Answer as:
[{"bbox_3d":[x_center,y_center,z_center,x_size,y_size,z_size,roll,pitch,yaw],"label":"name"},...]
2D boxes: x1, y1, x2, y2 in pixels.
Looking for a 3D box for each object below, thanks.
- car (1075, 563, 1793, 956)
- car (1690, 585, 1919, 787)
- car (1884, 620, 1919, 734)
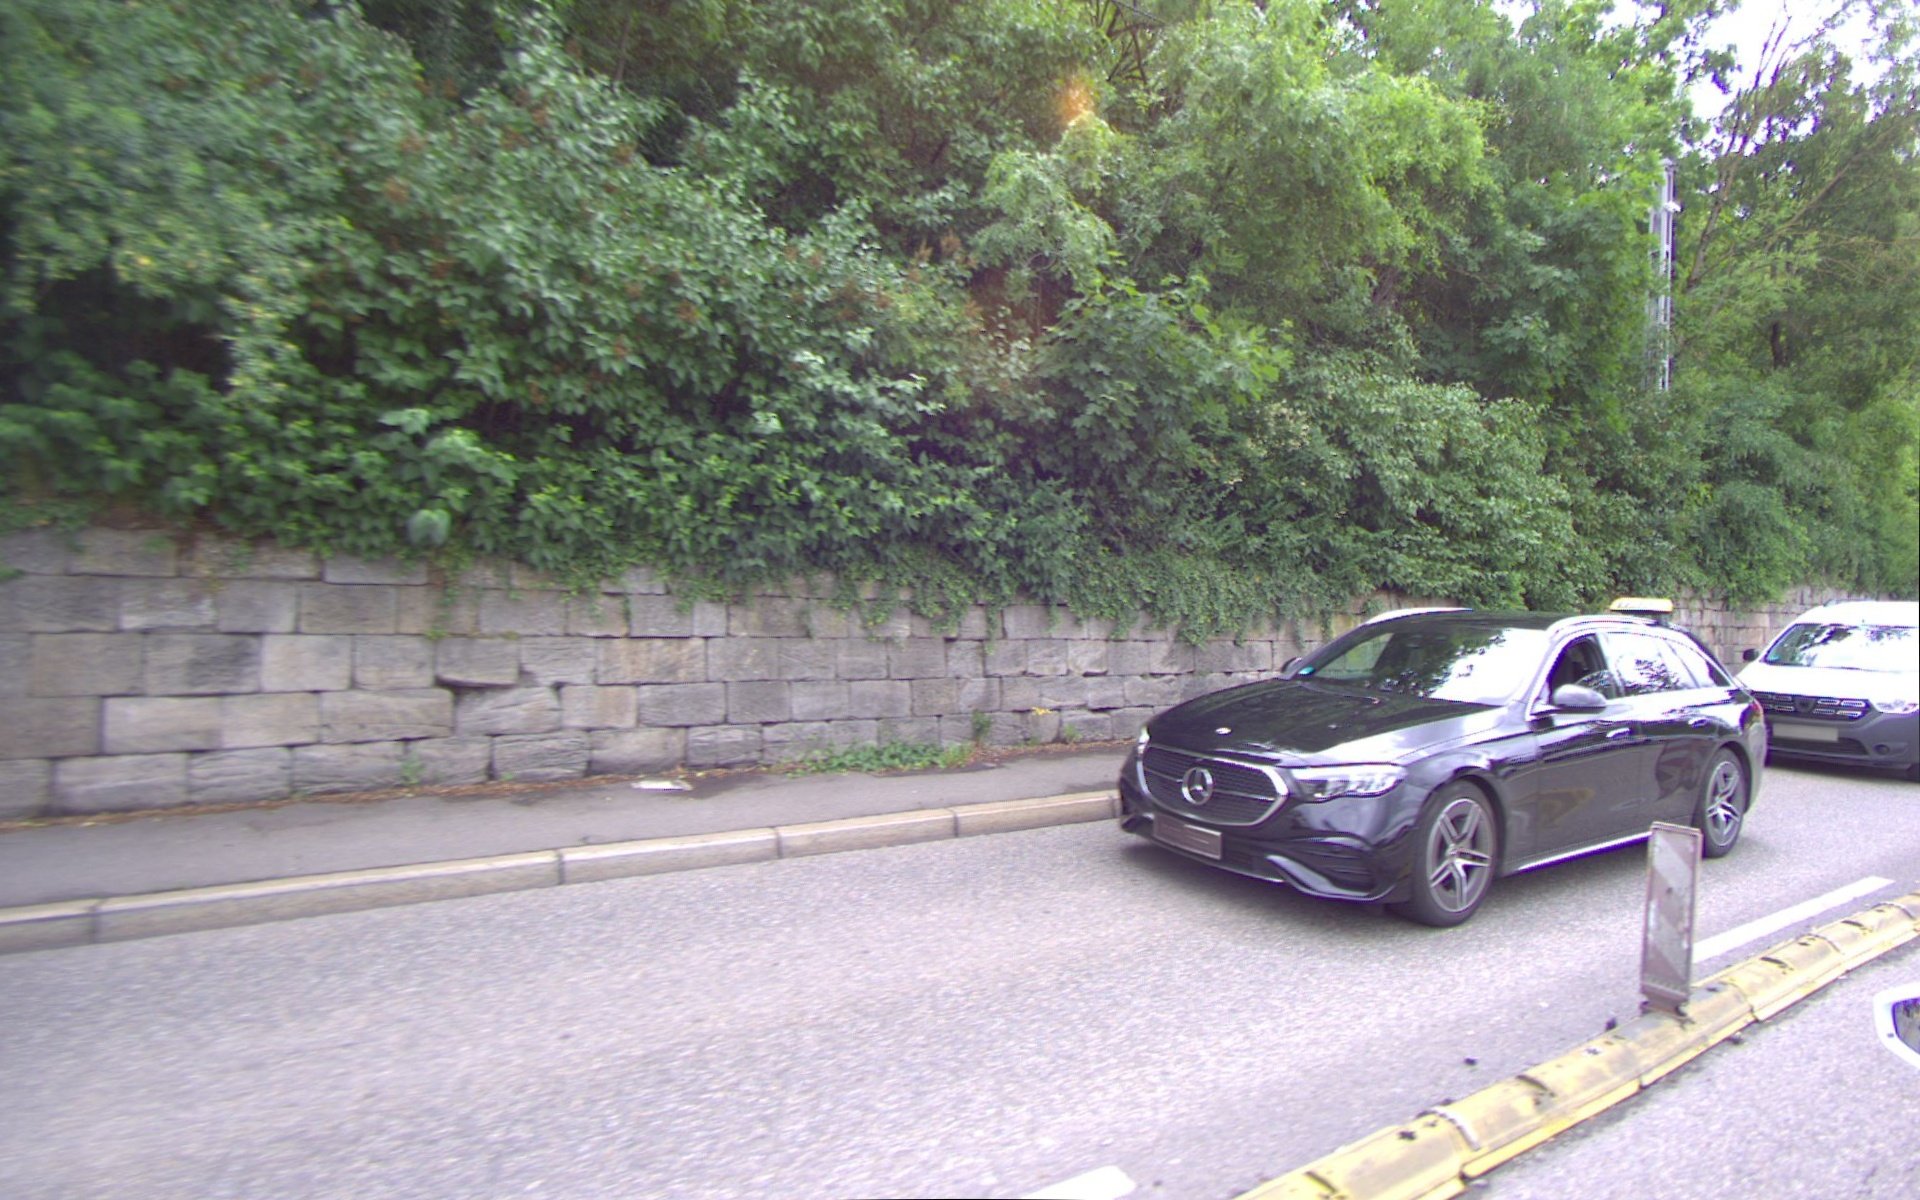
[{"bbox_3d":[3.085,0.698,6.167,4.605,1.614,1.820,2,1,-33],"label":"car"},{"bbox_3d":[10.088,0.836,11.095,4.295,1.814,1.792,2,1,-33],"label":"car"},{"bbox_3d":[14.996,1.126,14.284,4.268,1.528,1.780,2,1,-34],"label":"car"}]
